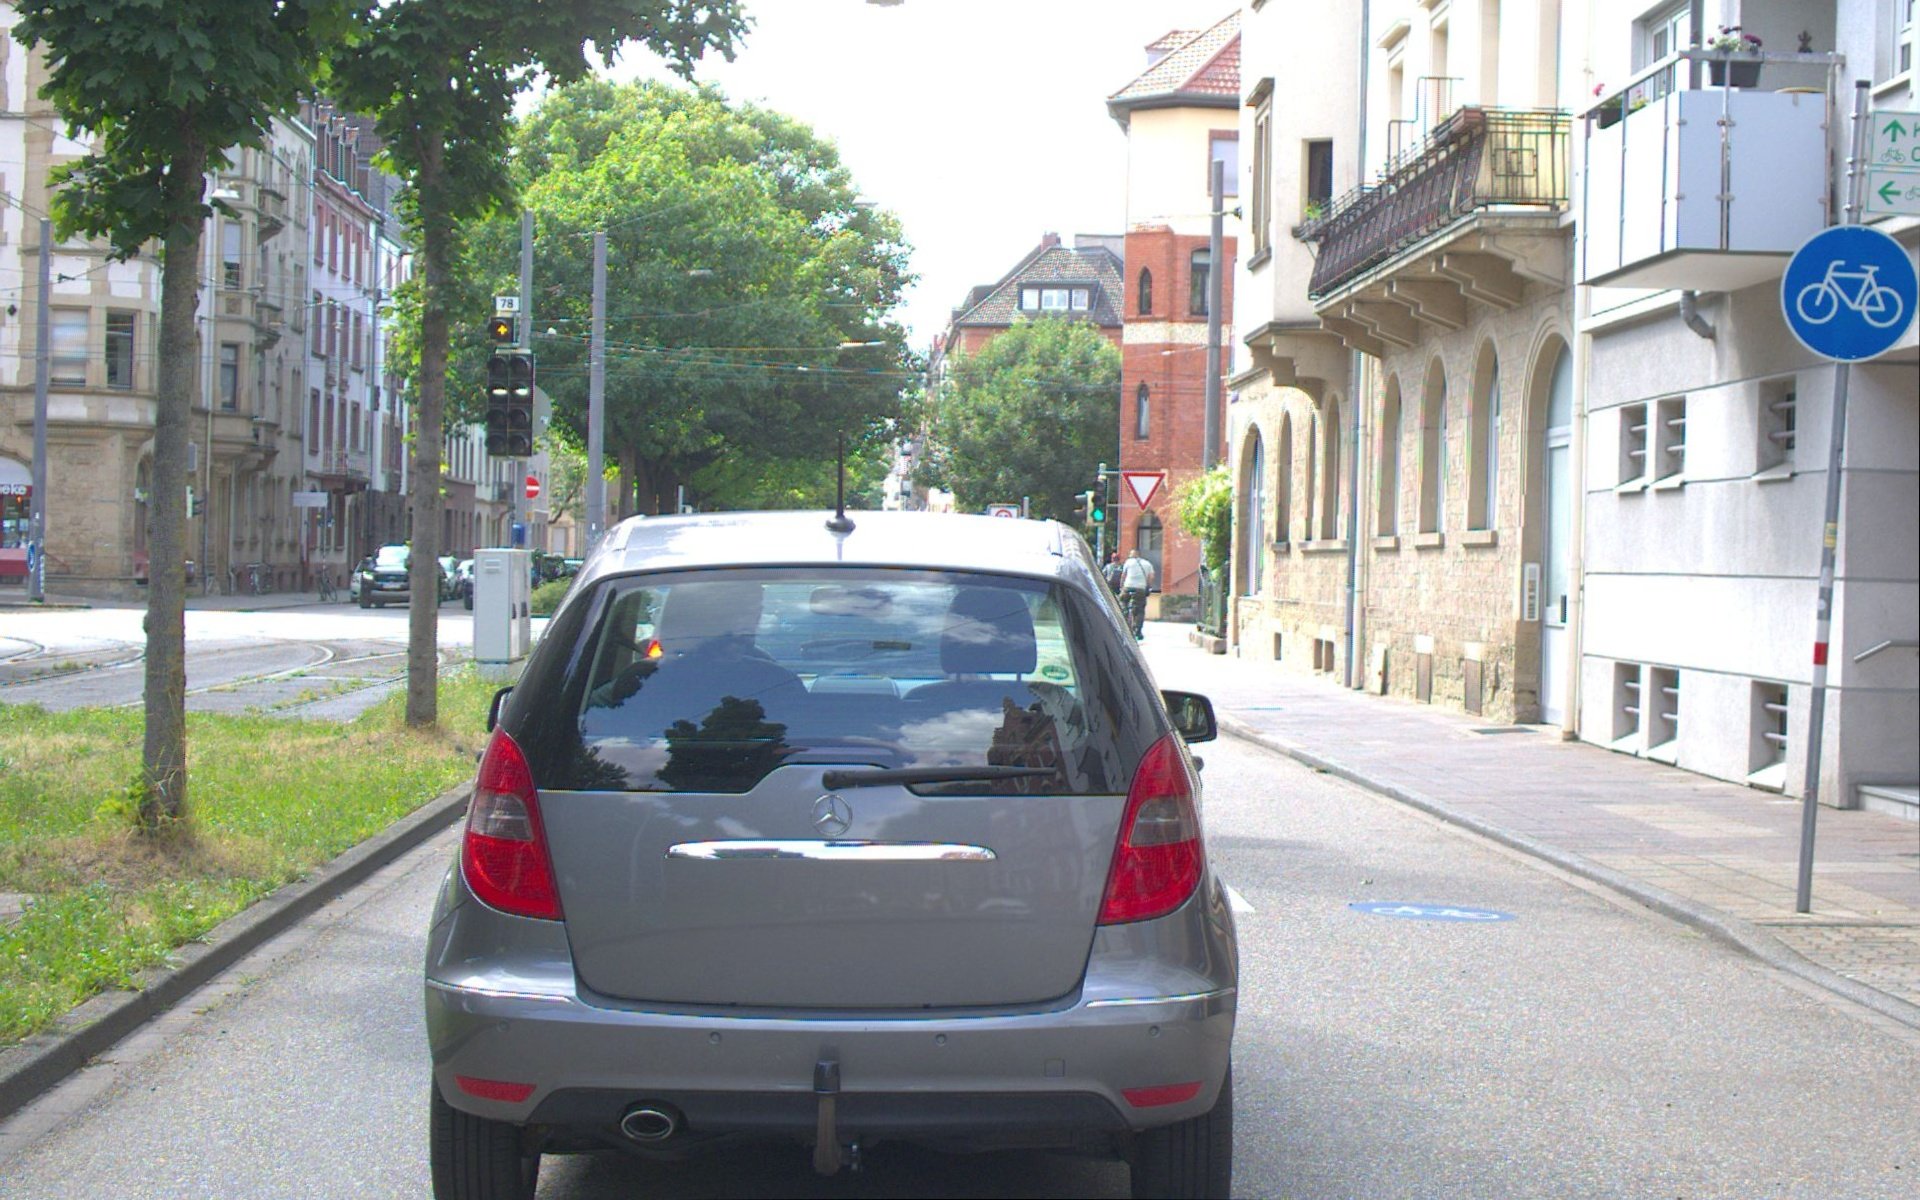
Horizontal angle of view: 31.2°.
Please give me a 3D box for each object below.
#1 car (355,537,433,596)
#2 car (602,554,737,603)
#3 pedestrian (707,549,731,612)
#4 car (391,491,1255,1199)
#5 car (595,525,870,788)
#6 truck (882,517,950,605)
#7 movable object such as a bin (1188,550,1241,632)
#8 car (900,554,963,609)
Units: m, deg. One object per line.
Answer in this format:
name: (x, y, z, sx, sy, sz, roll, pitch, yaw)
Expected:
car: (-16.156, -0.967, 98.338, 1.993, 1.612, 4.001, 1, 1, -7)
car: (-8.562, -0.633, 101.235, 1.969, 1.334, 3.999, 1, 1, -40)
pedestrian: (-6.569, -0.532, 93.701, 0.493, 1.719, 0.654, 1, 1, -14)
car: (-0.297, 0.574, 8.767, 1.722, 1.600, 3.677, 1, 1, -1)
car: (-1.537, 0.353, 24.344, 1.722, 1.700, 3.677, 1, 1, -1)
truck: (-1.526, -1.356, 119.583, 2.123, 2.960, 4.000, 1, 0, 2)
movable object such as a bin: (4.602, -0.174, 62.293, 0.714, 1.467, 0.983, 1, 0, -10)
car: (-0.866, -0.573, 106.634, 1.752, 1.627, 3.499, 2, 1, 2)
